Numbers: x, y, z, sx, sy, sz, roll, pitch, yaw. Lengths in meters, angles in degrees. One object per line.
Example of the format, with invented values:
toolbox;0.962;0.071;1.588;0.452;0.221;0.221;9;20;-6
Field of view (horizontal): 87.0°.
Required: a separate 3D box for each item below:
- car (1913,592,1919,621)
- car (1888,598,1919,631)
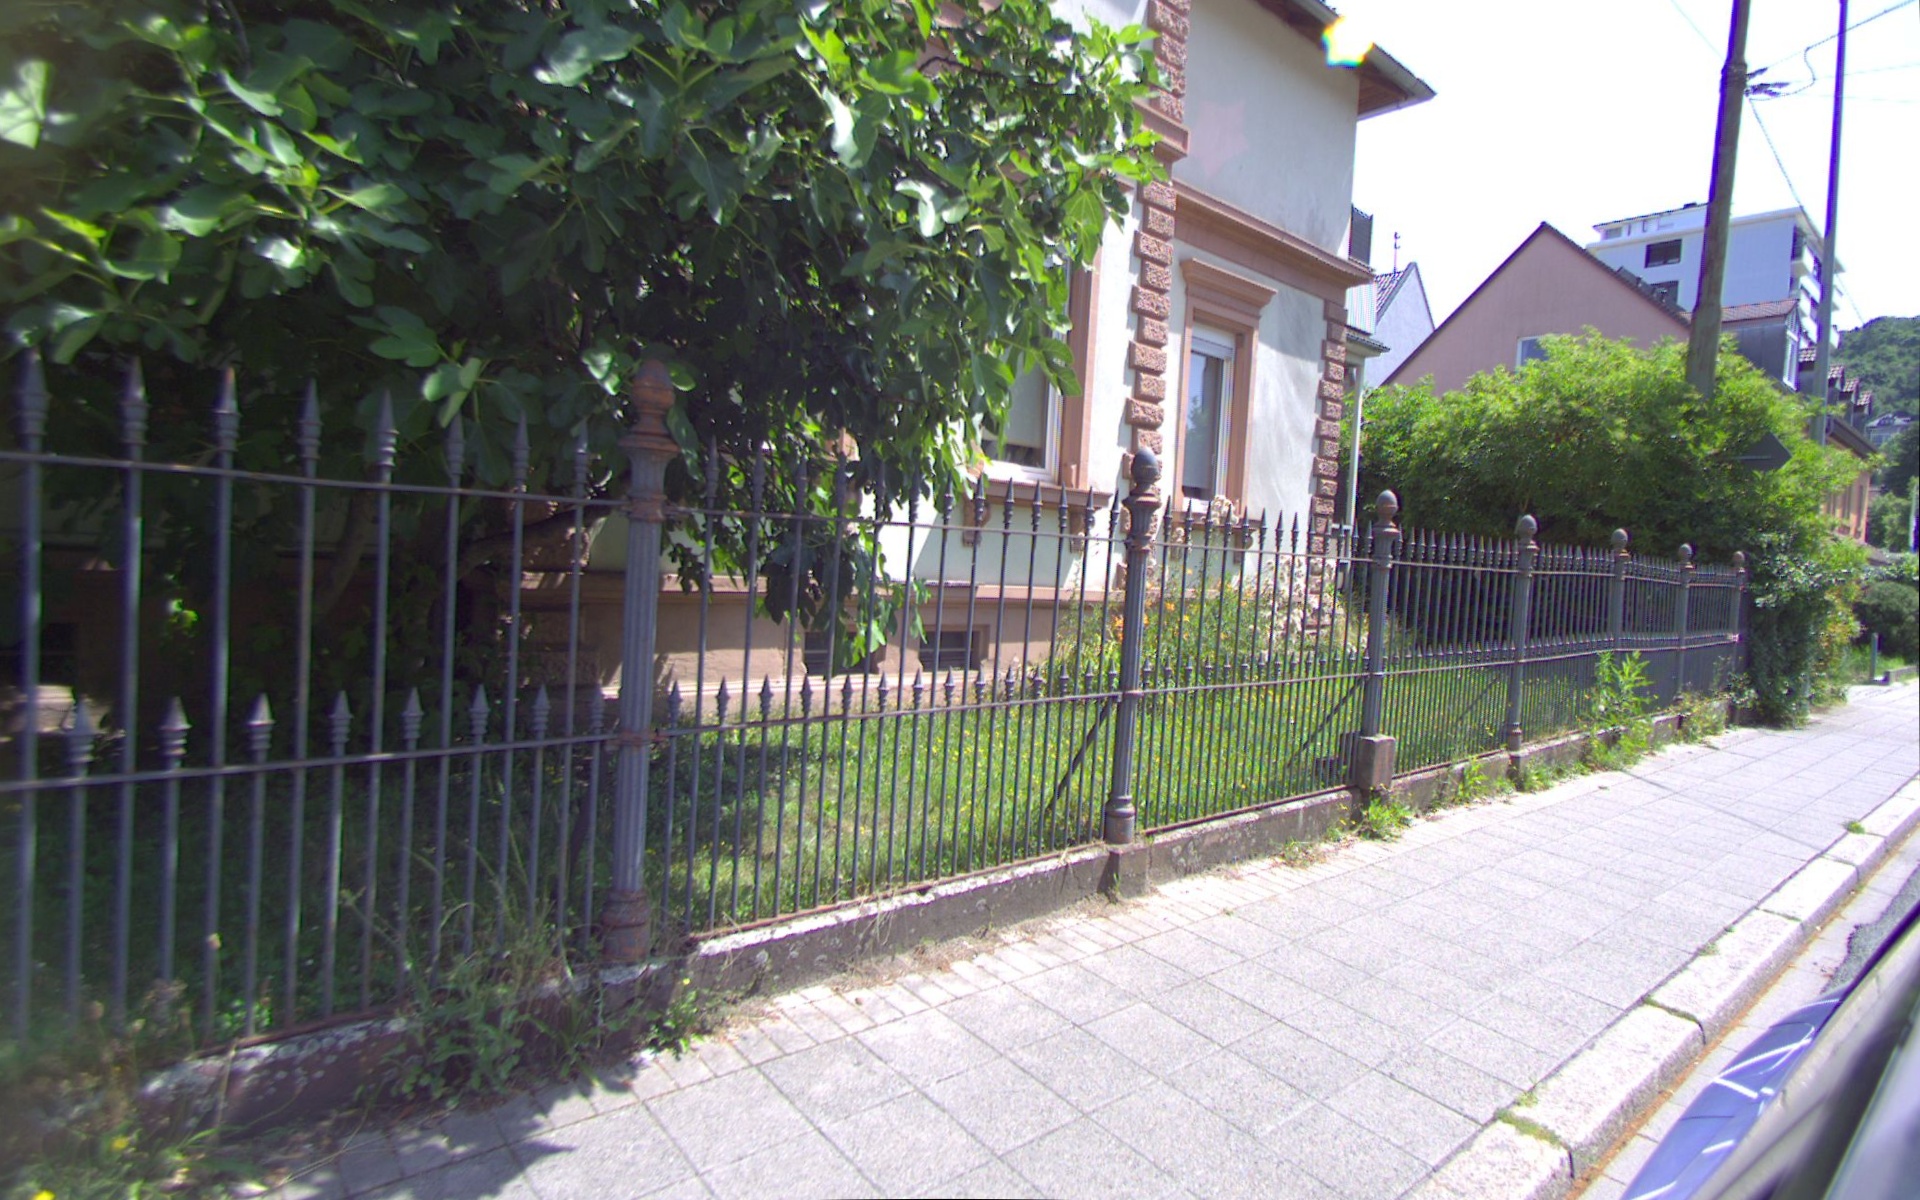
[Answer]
car;60.018;0.461;60.591;1.788;1.811;4.292;0;2;-1
car;49.610;0.824;51.035;3.868;1.561;1.818;4;4;37
